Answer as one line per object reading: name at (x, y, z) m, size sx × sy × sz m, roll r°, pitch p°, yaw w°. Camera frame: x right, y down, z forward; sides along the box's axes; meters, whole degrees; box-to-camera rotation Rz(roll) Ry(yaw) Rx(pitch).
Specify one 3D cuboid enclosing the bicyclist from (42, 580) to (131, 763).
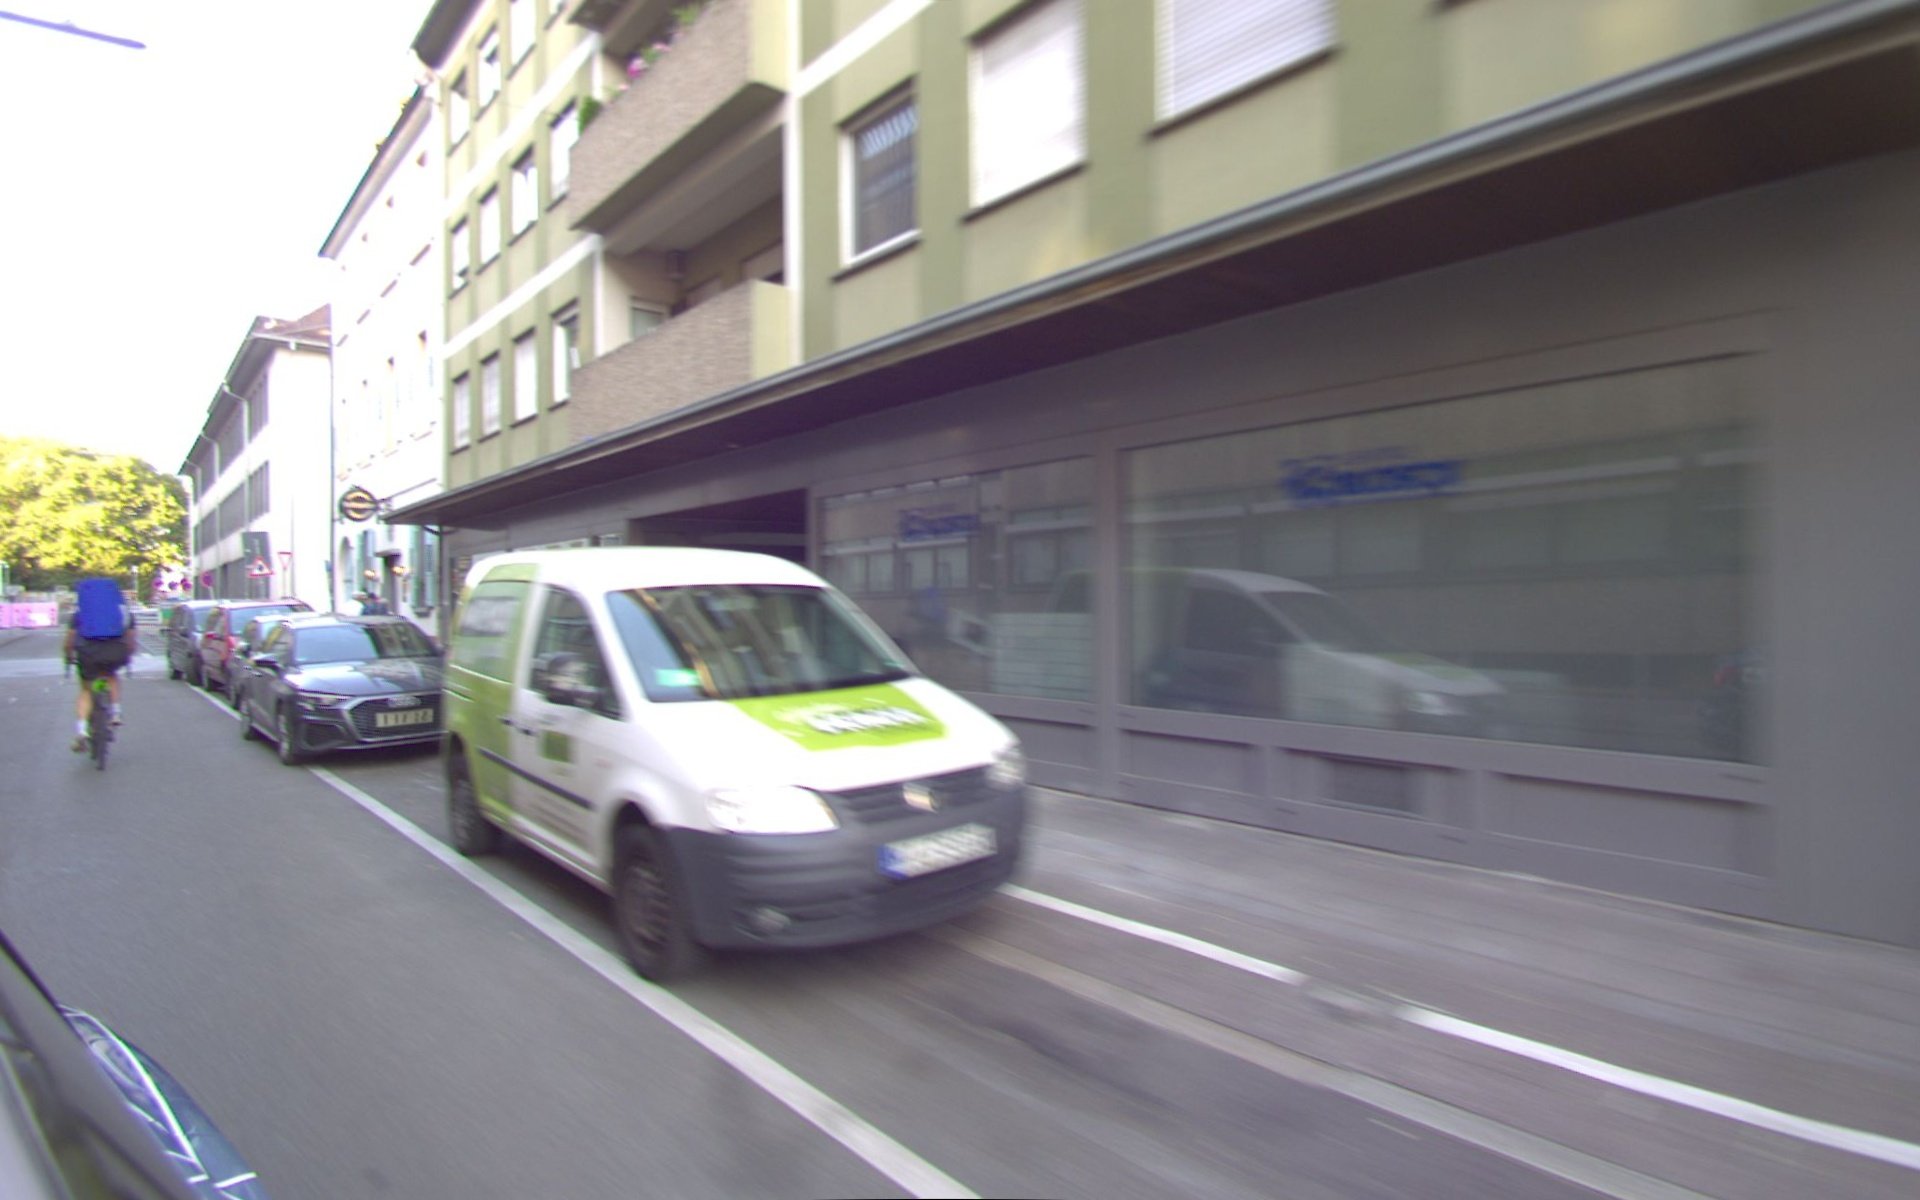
bicyclist at (-8.395, 0.649, 9.748) m, size 0.615 × 1.652 × 1.083 m, roll 0°, pitch 0°, yaw -40°

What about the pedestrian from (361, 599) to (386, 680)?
pedestrian at (-12.969, 0.855, 22.386) m, size 0.401 × 1.763 × 0.471 m, roll 0°, pitch 0°, yaw -39°

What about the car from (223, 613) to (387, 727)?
car at (-10.085, 0.959, 15.467) m, size 1.604 × 1.496 × 3.884 m, roll 1°, pitch -1°, yaw -40°

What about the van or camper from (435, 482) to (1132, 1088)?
van or camper at (-1.283, 0.596, 5.299) m, size 1.750 × 1.862 × 4.185 m, roll 1°, pitch -1°, yaw -40°

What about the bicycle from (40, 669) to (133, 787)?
bicycle at (-8.404, 1.181, 9.764) m, size 0.626 × 0.929 × 1.782 m, roll 0°, pitch 0°, yaw -40°

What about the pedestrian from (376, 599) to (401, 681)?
pedestrian at (-12.463, 0.868, 22.064) m, size 0.401 × 1.763 × 0.471 m, roll 0°, pitch 0°, yaw -39°

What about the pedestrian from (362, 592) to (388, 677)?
pedestrian at (-12.363, 0.716, 21.374) m, size 0.401 × 1.763 × 0.471 m, roll 0°, pitch 0°, yaw -39°

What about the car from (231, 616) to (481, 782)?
car at (-6.726, 0.918, 11.080) m, size 1.604 × 1.426 × 3.985 m, roll -1°, pitch 0°, yaw -42°

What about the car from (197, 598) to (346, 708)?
car at (-13.139, 0.915, 19.204) m, size 1.751 × 1.825 × 4.516 m, roll -1°, pitch 0°, yaw -42°

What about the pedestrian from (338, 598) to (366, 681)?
pedestrian at (-13.088, 0.832, 21.782) m, size 0.443 × 1.763 × 0.471 m, roll 0°, pitch 0°, yaw -39°

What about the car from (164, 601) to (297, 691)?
car at (-16.627, 0.959, 22.982) m, size 1.855 × 1.825 × 4.454 m, roll -1°, pitch 0°, yaw -43°
